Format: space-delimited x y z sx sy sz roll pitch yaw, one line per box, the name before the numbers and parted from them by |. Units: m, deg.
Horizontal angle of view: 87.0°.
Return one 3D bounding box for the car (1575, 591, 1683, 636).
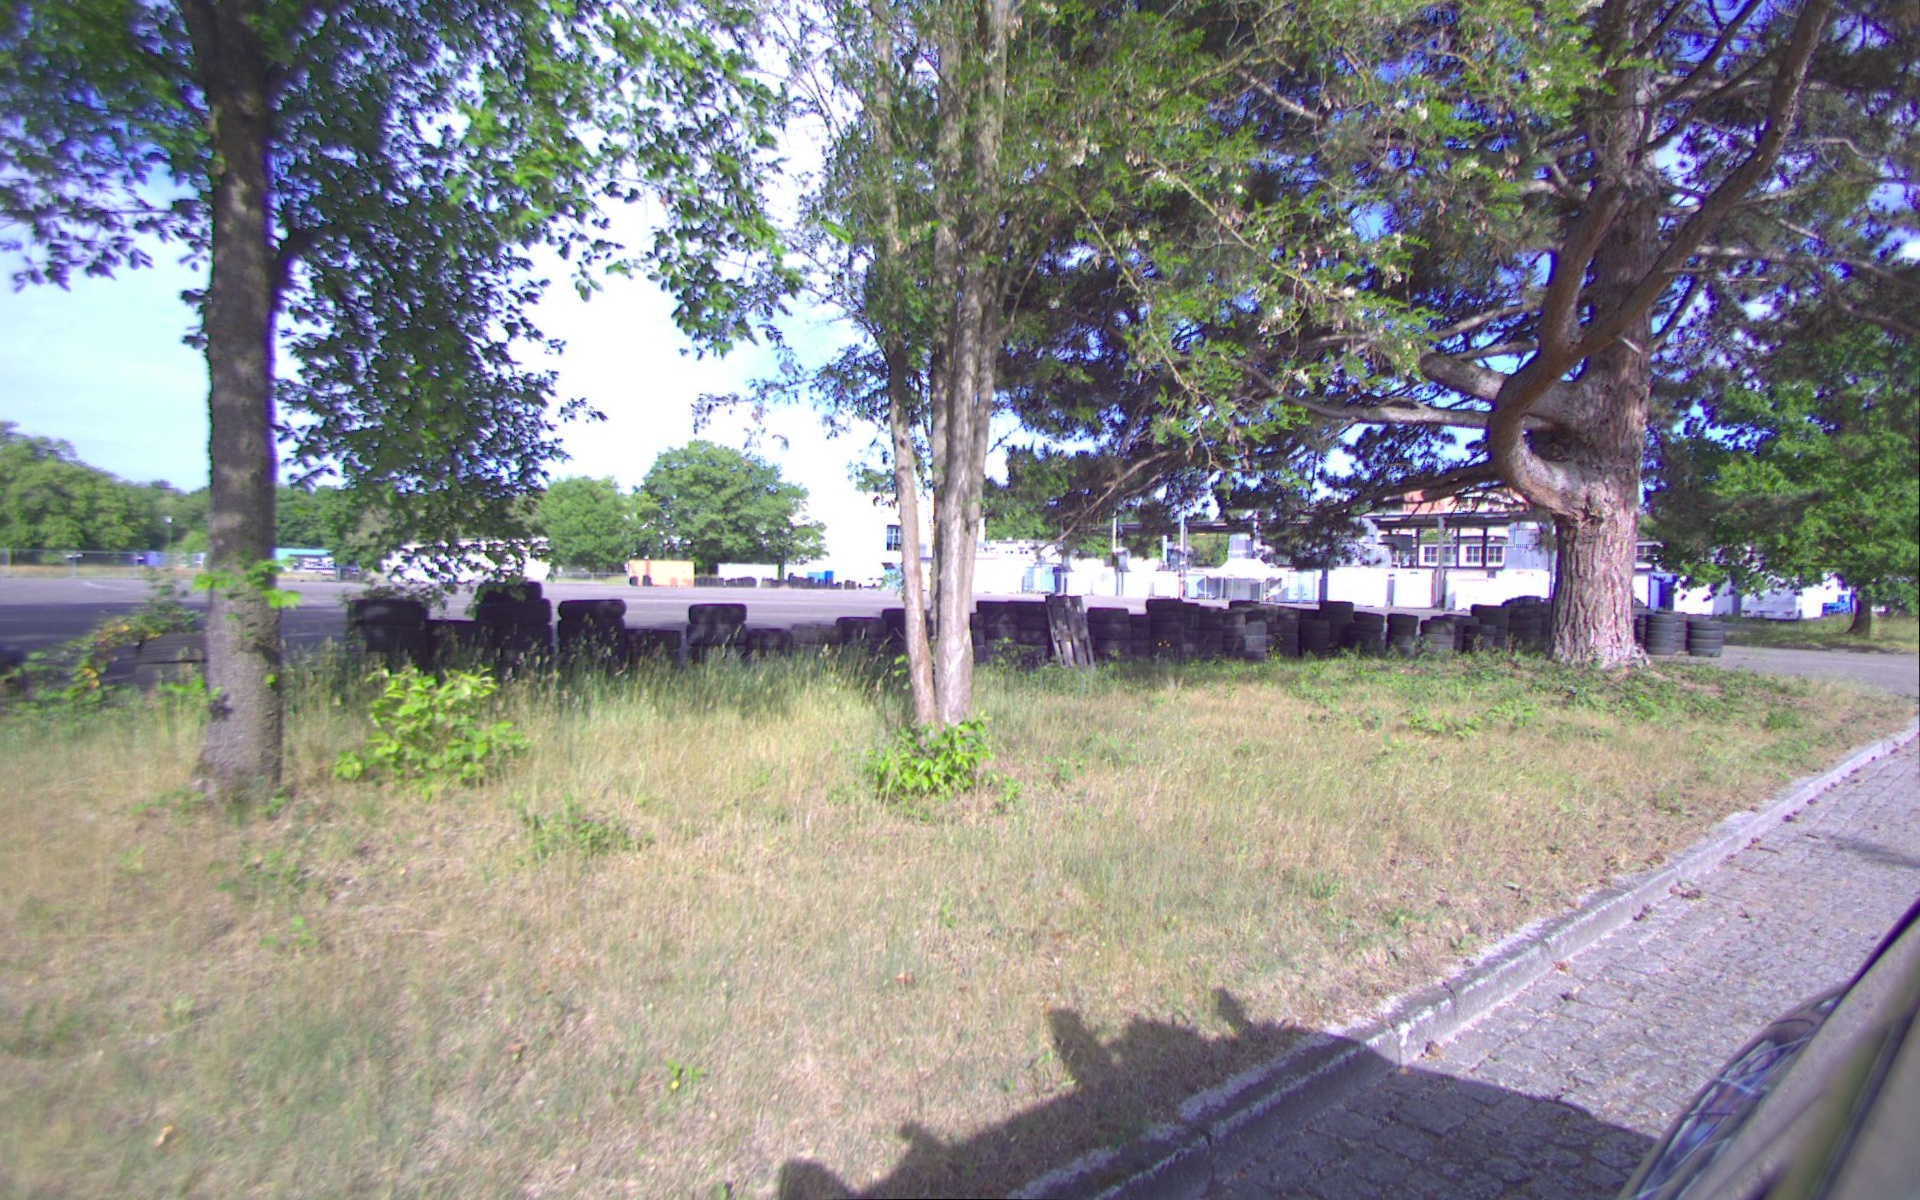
car | 23.692 0.462 35.829 3.923 1.467 1.849 0 1 -35
